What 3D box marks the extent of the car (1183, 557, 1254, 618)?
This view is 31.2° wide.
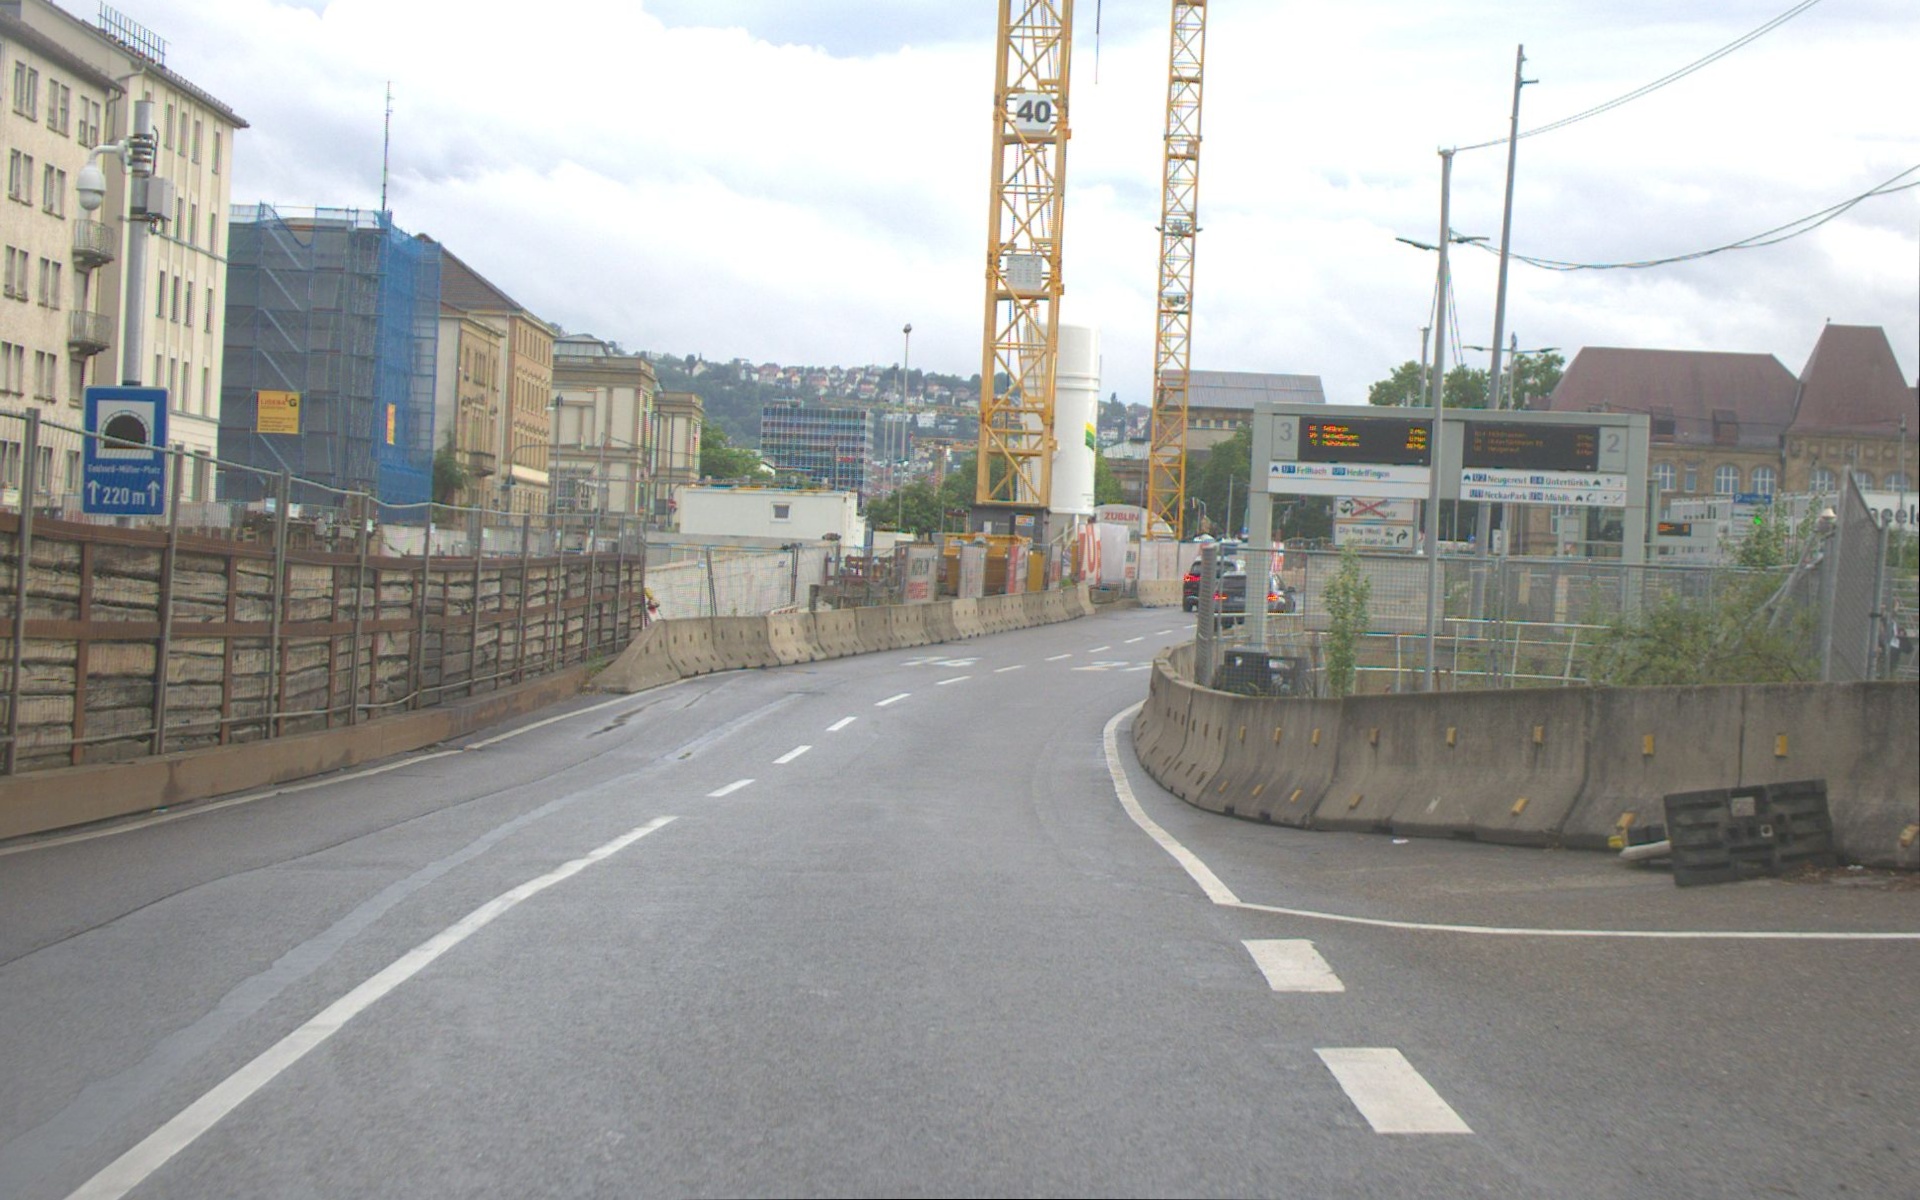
[{"bbox_3d":[7.714,-0.385,102.170,1.863,1.655,4.655,3,1,6],"label":"car"}]

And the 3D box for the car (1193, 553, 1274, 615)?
[{"bbox_3d":[6.612,-0.380,82.689,1.863,1.428,4.655,1,0,5],"label":"car"}]
